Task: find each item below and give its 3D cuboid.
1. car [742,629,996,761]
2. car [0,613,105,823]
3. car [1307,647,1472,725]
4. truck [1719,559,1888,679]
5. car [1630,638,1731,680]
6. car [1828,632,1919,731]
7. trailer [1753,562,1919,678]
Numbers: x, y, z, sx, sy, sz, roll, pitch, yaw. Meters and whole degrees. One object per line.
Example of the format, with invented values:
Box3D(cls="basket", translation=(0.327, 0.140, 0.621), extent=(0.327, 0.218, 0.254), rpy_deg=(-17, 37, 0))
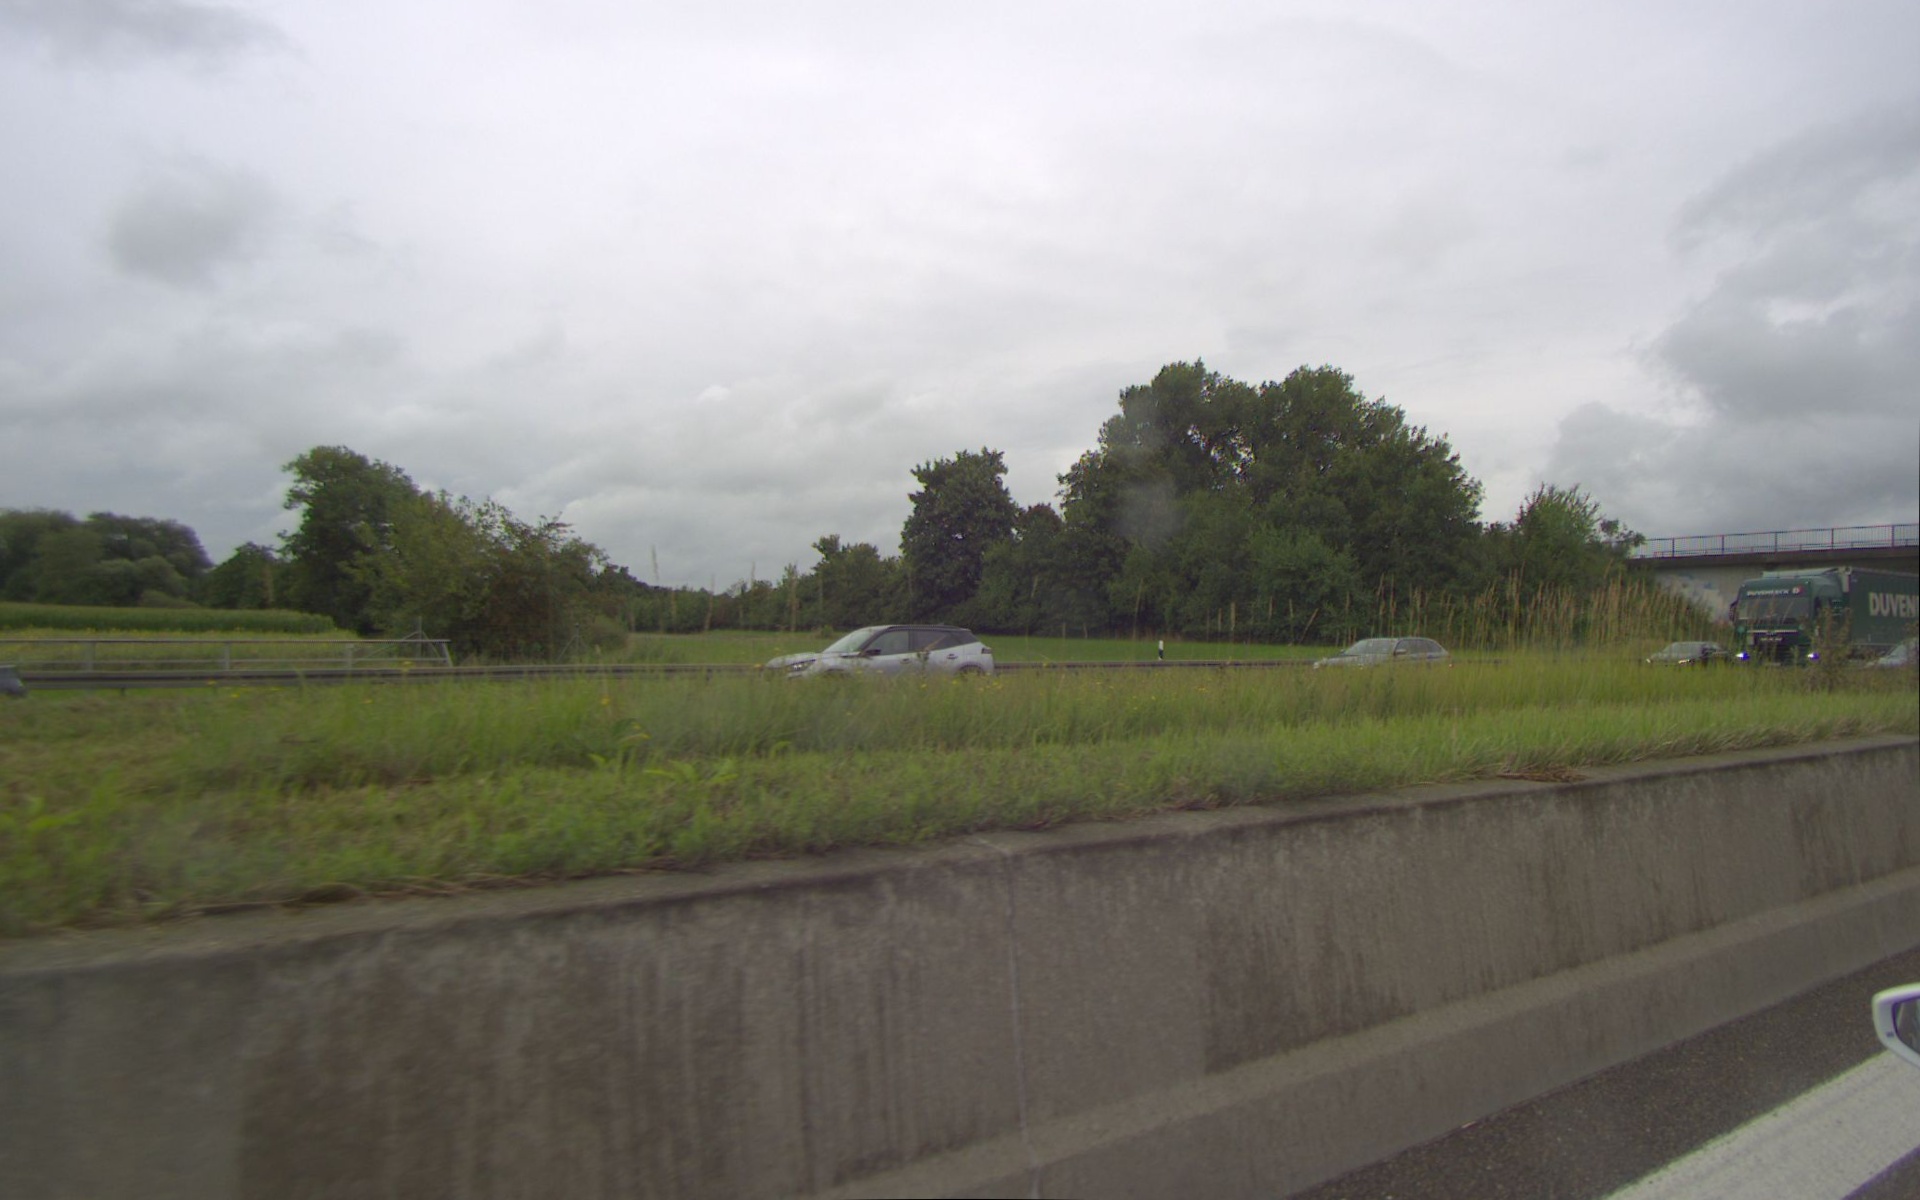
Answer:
Box3D(cls="car", translation=(-1.562, 1.539, 17.467), extent=(3.953, 2.040, 1.984), rpy_deg=(2, -2, -30))
Box3D(cls="car", translation=(-10.495, 0.970, 8.382), extent=(4.742, 1.733, 2.084), rpy_deg=(2, 0, -29))
Box3D(cls="car", translation=(12.294, 2.366, 28.649), extent=(5.206, 1.995, 1.809), rpy_deg=(2, -2, -34))
Box3D(cls="truck", translation=(31.102, 0.727, 37.007), extent=(6.182, 4.104, 2.744), rpy_deg=(2, 1, -30))
Box3D(cls="car", translation=(28.512, 2.297, 39.716), extent=(4.365, 1.574, 1.703), rpy_deg=(2, -2, -32))
Box3D(cls="car", translation=(21.313, 1.753, 22.404), extent=(3.953, 2.040, 1.777), rpy_deg=(2, -2, -30))
Box3D(cls="trailer", translation=(37.000, 0.926, 40.505), extent=(14.350, 4.104, 2.744), rpy_deg=(2, 1, -31))
